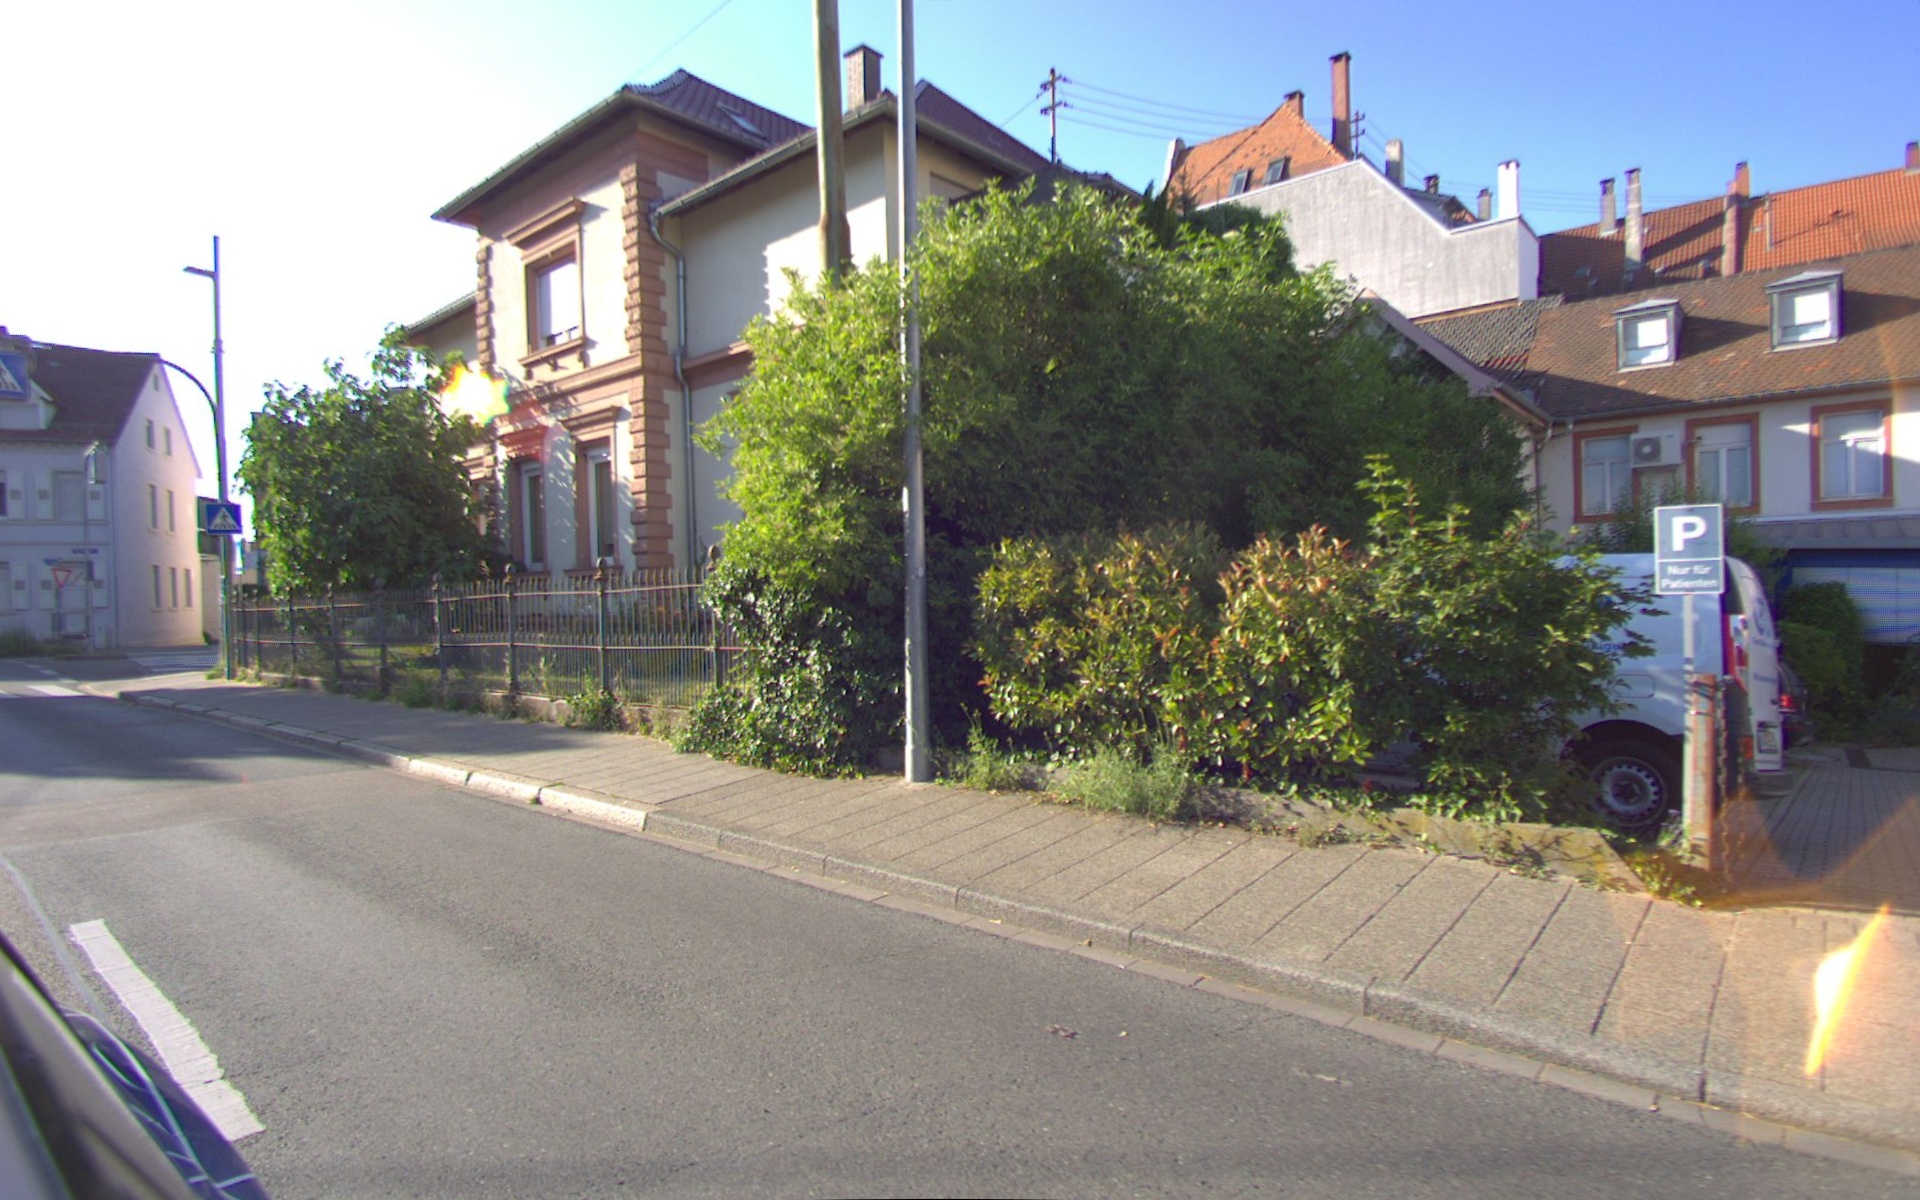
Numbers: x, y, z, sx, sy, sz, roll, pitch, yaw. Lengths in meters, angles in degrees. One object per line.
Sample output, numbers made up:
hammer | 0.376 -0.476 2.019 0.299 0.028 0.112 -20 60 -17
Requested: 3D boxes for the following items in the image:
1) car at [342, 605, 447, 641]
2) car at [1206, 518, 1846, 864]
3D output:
car | -25.685 1.024 46.071 1.702 1.465 3.827 -1 1 44
car | 3.843 0.587 7.233 3.671 1.829 1.682 -2 -7 43
